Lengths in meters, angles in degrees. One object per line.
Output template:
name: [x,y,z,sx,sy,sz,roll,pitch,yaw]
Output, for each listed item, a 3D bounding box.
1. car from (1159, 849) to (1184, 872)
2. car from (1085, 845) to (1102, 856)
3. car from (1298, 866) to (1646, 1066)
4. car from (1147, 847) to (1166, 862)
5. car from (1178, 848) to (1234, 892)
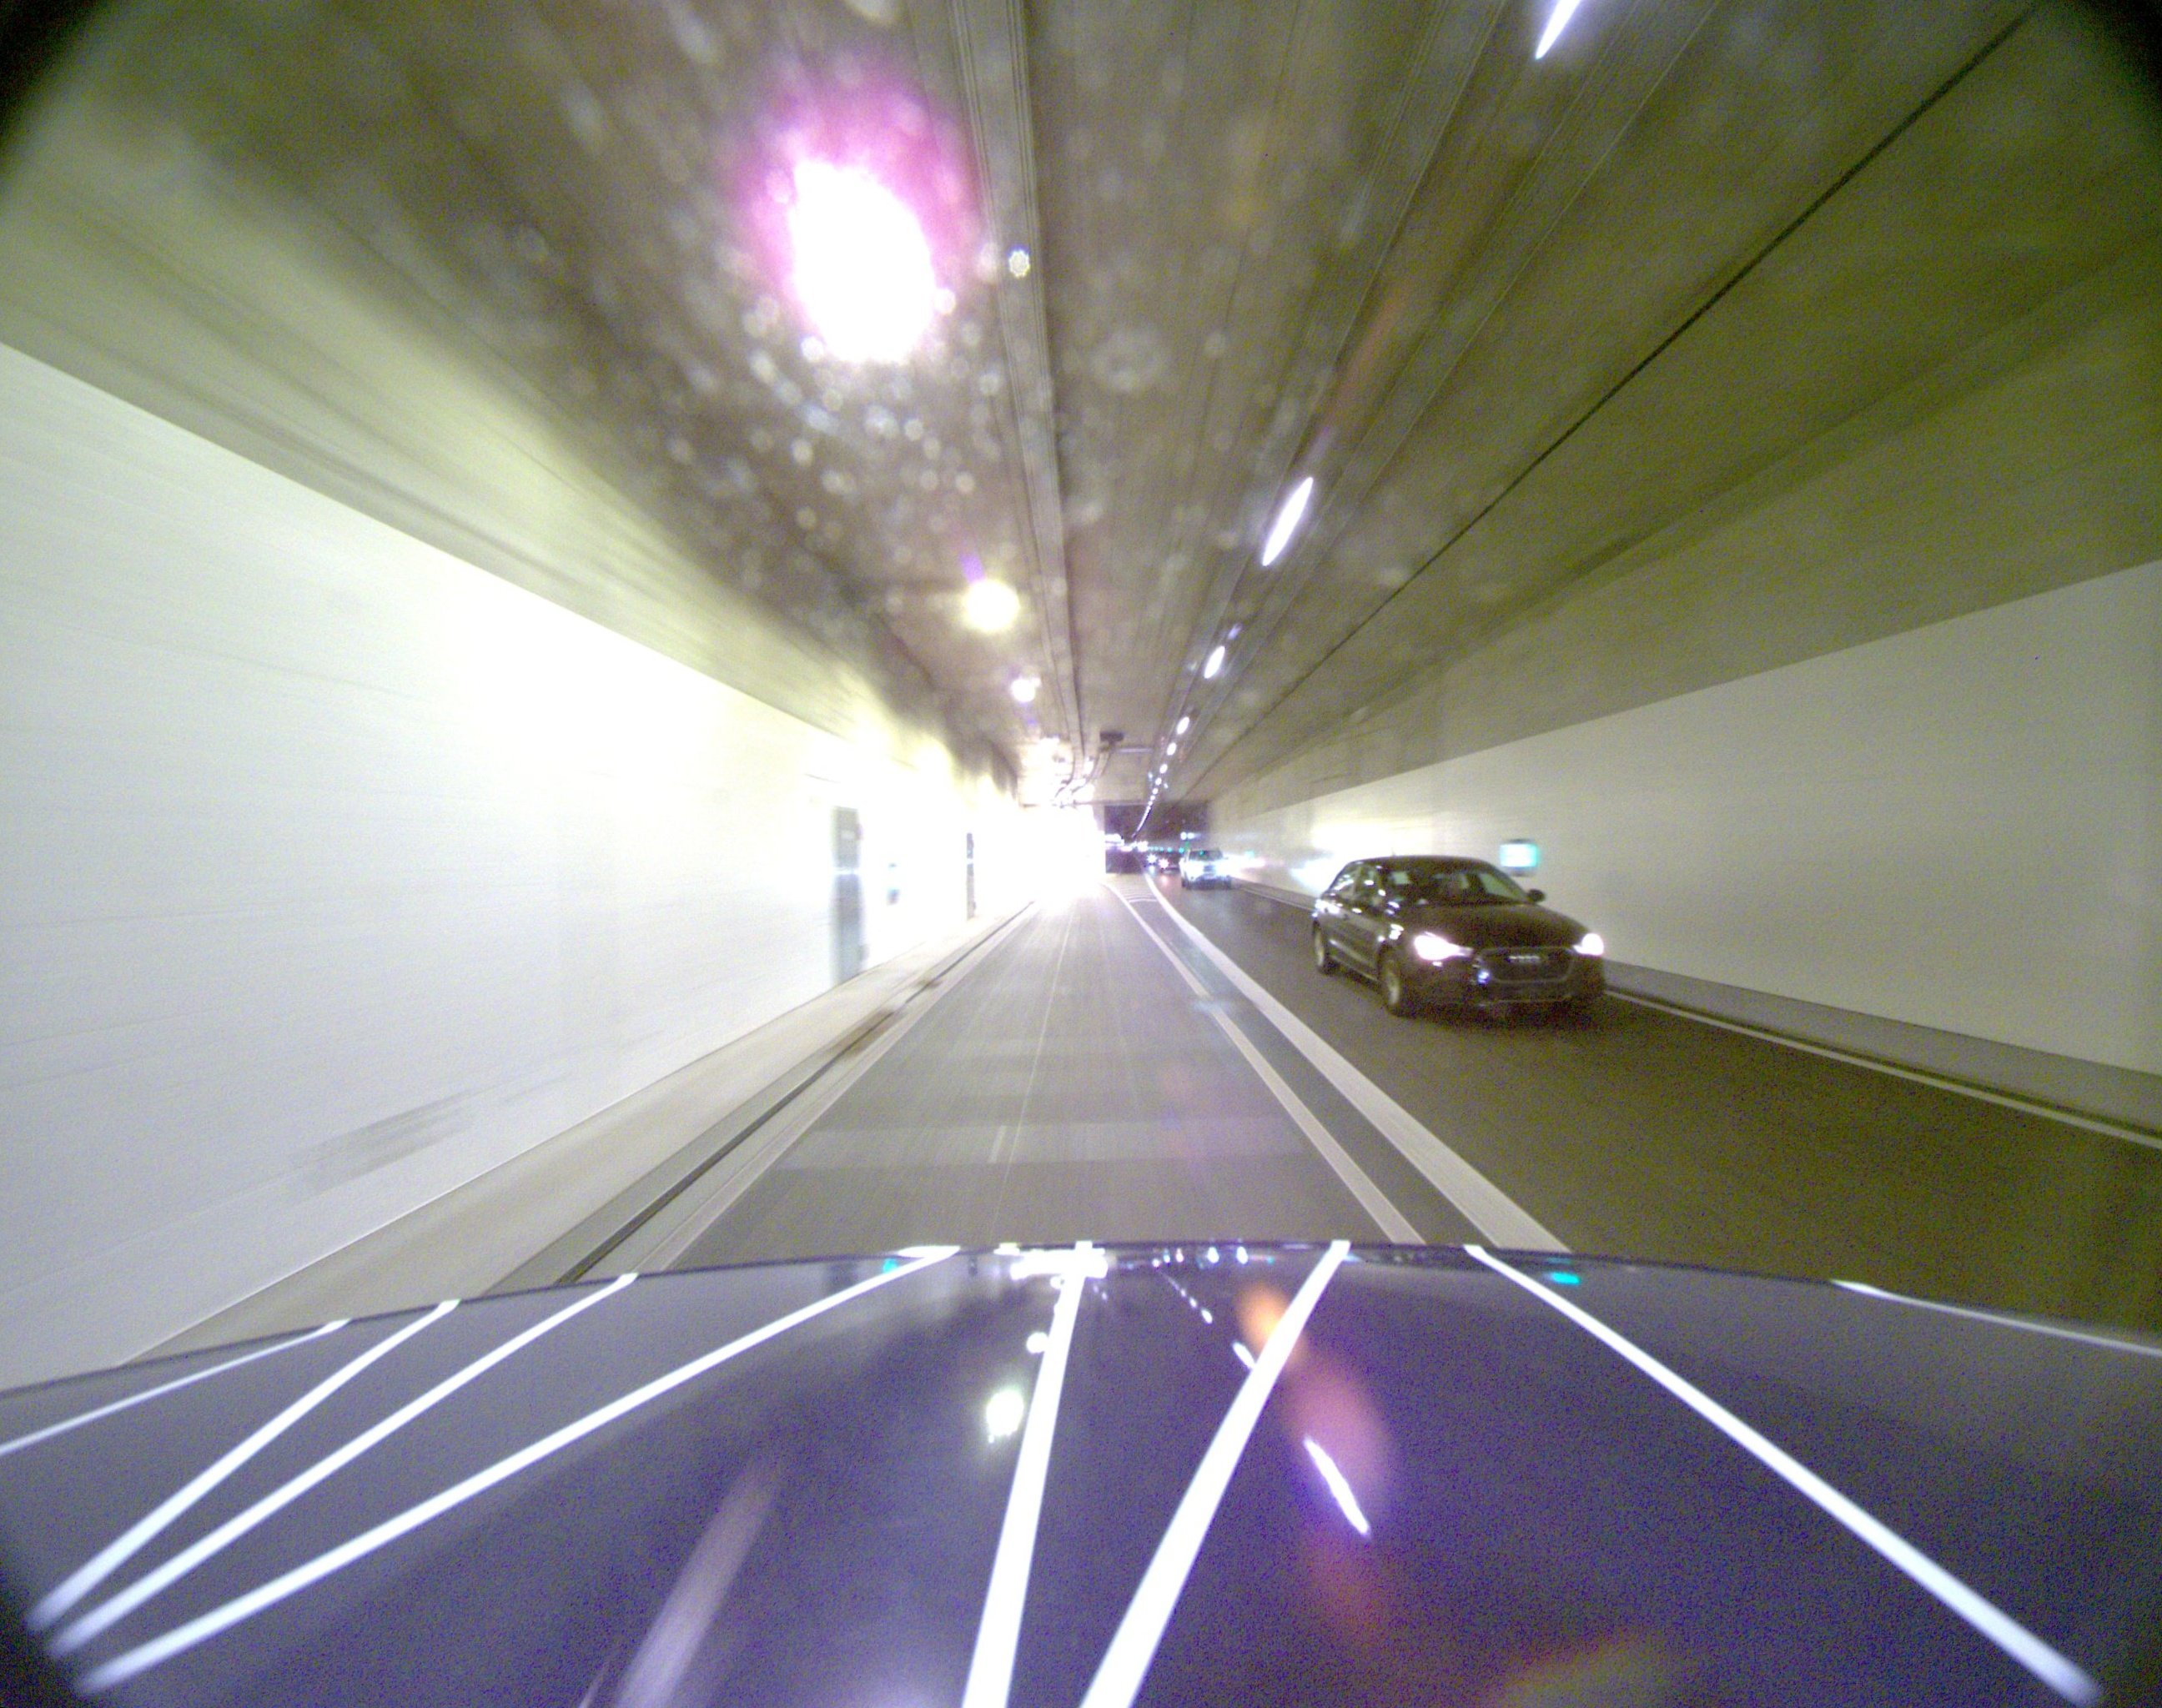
car: [6.548,0.458,55.298,1.607,1.462,3.681,-3,1,4]
car: [1.568,-0.453,95.680,1.829,1.328,4.000,-1,1,4]
car: [3.538,0.892,7.741,1.660,1.393,3.876,-2,1,2]
car: [7.838,0.022,79.012,1.718,1.444,3.680,-3,1,2]
car: [5.133,0.603,31.632,1.853,1.655,3.831,-1,1,2]
